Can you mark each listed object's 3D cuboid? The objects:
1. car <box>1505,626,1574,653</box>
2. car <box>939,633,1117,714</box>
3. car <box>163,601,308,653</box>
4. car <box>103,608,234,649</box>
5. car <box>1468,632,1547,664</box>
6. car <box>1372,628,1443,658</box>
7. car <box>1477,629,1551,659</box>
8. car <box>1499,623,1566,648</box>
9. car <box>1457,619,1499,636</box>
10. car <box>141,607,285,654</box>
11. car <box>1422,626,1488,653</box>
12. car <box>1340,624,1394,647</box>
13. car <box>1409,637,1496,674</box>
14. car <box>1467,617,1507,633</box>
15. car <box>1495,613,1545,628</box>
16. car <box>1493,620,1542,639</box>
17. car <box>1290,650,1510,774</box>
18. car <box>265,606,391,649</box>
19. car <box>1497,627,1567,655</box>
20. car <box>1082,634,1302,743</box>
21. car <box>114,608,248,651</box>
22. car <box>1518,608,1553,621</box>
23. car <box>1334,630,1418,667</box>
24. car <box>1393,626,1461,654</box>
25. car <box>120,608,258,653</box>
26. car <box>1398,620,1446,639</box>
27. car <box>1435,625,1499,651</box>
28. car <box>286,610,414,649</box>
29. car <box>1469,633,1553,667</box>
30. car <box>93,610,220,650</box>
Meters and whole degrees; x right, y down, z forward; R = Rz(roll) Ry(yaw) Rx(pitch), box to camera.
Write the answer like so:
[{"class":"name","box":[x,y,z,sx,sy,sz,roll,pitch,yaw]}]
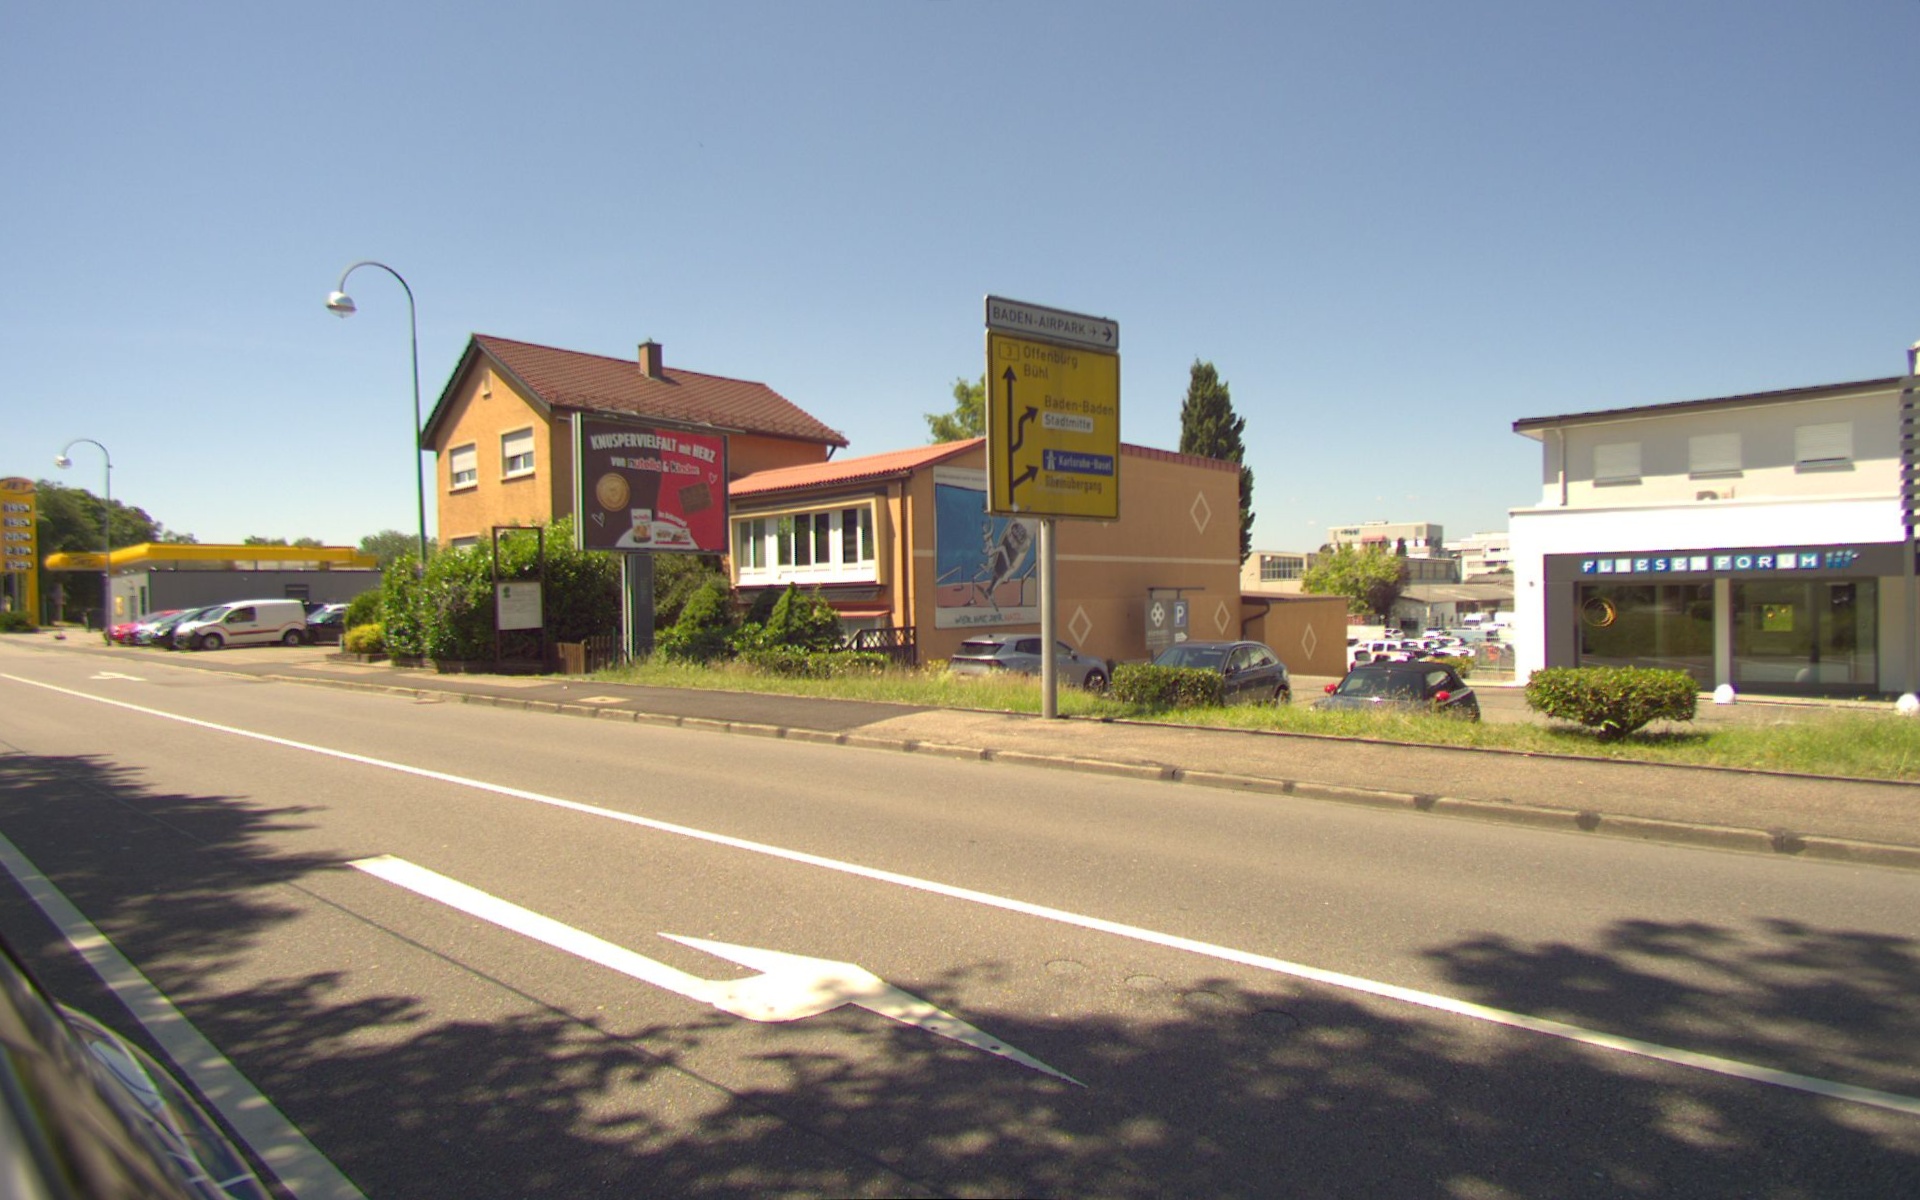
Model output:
[{"class":"car","box":[39.804,2.688,69.558,3.774,1.768,1.707,-1,-1,44]},{"class":"car","box":[1.647,1.634,23.618,4.165,1.621,1.773,0,-1,-42]},{"class":"car","box":[-27.611,0.995,38.695,1.871,1.883,4.143,-1,-1,35]},{"class":"car","box":[-35.929,1.259,46.026,1.871,1.773,4.351,-1,-1,35]},{"class":"car","box":[32.412,2.791,59.934,3.774,1.768,1.707,-1,-1,44]},{"class":"car","box":[28.299,2.702,64.049,3.774,1.768,1.707,-1,-1,44]},{"class":"car","box":[34.907,2.755,63.824,3.774,1.768,1.707,-1,-1,44]},{"class":"car","box":[42.792,2.643,75.637,4.055,1.768,1.707,-1,-1,44]},{"class":"car","box":[57.520,3.080,112.373,1.706,1.768,3.775,-3,1,-45]},{"class":"car","box":[-29.356,1.152,39.871,1.871,1.773,4.198,-1,-1,35]},{"class":"car","box":[34.560,2.752,70.661,3.774,1.768,1.707,-1,-1,44]},{"class":"car","box":[34.029,2.945,84.632,3.774,1.768,1.707,-1,-1,44]},{"class":"car","box":[25.843,2.880,53.132,3.774,1.768,1.707,-1,-1,44]},{"class":"car","box":[61.135,2.908,117.457,3.774,1.768,1.707,-1,2,44]},{"class":"car","box":[71.779,2.634,129.706,5.303,1.768,2.037,-1,-1,44]},{"class":"car","box":[53.058,2.789,96.317,3.774,1.768,1.707,-1,0,44]},{"class":"car","box":[7.059,1.655,16.043,4.039,1.544,1.772,0,-1,-44]},{"class":"car","box":[-27.891,1.174,44.787,1.871,1.839,4.351,-1,-1,35]},{"class":"car","box":[38.174,2.709,67.620,3.774,1.768,1.707,-1,-1,44]},{"class":"car","box":[4.356,1.507,18.552,4.462,1.654,1.772,0,-1,-44]},{"class":"car","box":[-34.248,1.265,44.623,1.871,1.773,4.351,-1,-1,35]},{"class":"car","box":[77.180,1.961,135.787,3.774,1.768,1.707,-1,-1,44]},{"class":"car","box":[24.010,2.765,58.467,4.001,2.029,1.971,-1,-1,44]},{"class":"car","box":[31.107,2.661,67.434,3.774,1.768,1.707,-1,-1,44]},{"class":"car","box":[-32.653,1.248,42.972,1.871,1.773,4.351,-1,-1,35]},{"class":"car","box":[44.281,2.804,97.059,3.774,1.768,1.707,-1,-1,44]},{"class":"car","box":[36.541,2.730,72.991,3.774,1.768,1.707,-1,-1,44]},{"class":"car","box":[-26.166,1.211,43.523,1.871,1.575,4.351,-1,-1,35]},{"class":"car","box":[30.380,2.730,55.832,3.774,1.768,1.707,-1,-1,44]},{"class":"car","box":[-37.742,1.381,47.625,1.871,1.773,4.351,-1,-1,35]}]
